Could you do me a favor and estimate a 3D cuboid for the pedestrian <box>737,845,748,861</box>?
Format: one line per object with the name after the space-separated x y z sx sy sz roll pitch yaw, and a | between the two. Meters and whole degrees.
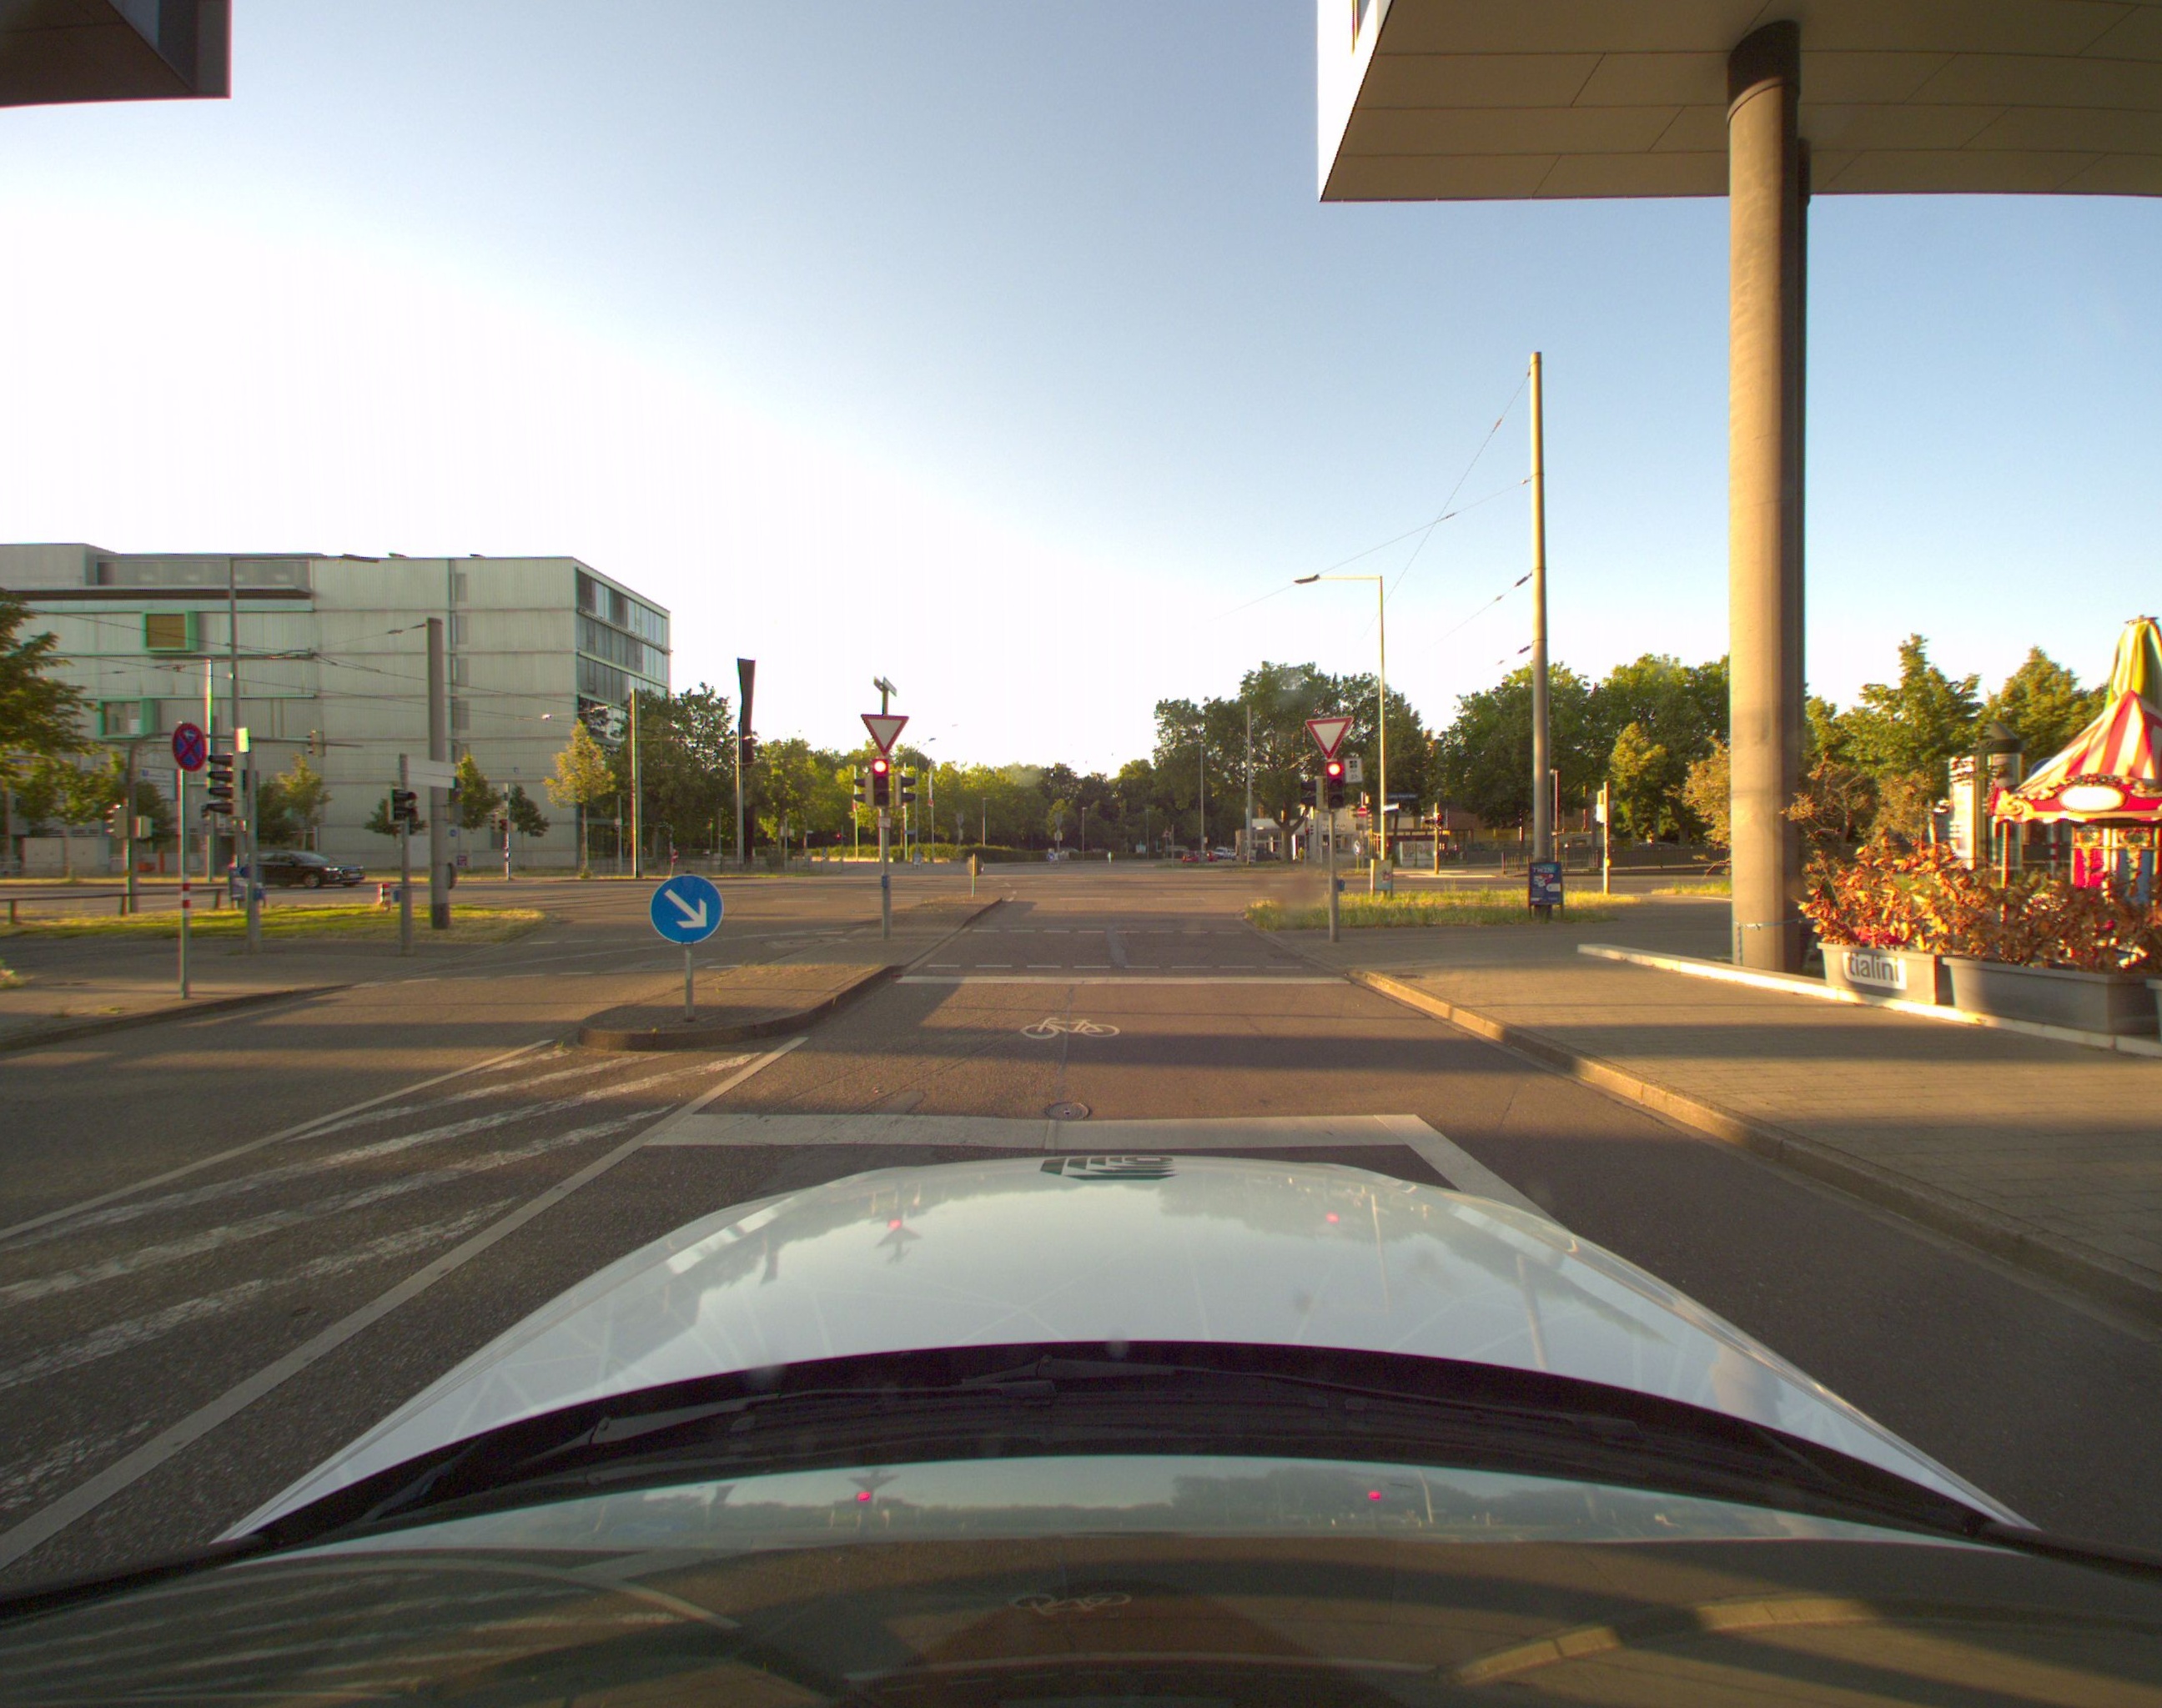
-37.372 -0.064 89.897 0.852 1.744 0.835 -1 0 32 | pedestrian

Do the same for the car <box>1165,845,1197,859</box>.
15.422 -0.324 125.723 4.753 2.006 2.002 -1 -1 3 | car

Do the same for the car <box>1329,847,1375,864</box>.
23.874 0.159 71.833 3.715 1.440 1.669 -1 -1 11 | car

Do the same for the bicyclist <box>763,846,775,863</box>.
-30.673 0.028 79.972 0.908 1.709 0.758 -1 0 42 | bicyclist

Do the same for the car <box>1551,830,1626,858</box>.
47.925 -0.963 77.034 5.561 2.551 2.235 -1 0 9 | car

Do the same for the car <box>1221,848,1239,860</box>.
21.093 0.008 115.292 1.978 1.662 4.018 -1 -1 17 | car

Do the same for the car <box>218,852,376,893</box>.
-32.508 0.741 33.892 4.467 1.557 1.986 -1 0 -4 | car

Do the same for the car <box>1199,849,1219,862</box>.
16.212 0.223 103.173 1.978 1.662 4.018 -1 -1 17 | car

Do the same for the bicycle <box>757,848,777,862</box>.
-30.949 0.101 80.200 2.656 1.341 0.737 -1 0 43 | bicycle

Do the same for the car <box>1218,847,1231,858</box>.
23.940 -0.249 135.730 1.849 1.794 4.015 -1 -1 14 | car

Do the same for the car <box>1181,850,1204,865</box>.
13.108 0.386 95.553 1.978 1.662 4.018 -1 -1 17 | car

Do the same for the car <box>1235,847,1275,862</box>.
18.927 0.022 88.893 4.194 1.552 2.005 -1 -1 9 | car

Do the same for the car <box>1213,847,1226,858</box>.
22.276 -0.242 130.872 1.850 1.794 4.013 -1 -1 12 | car
